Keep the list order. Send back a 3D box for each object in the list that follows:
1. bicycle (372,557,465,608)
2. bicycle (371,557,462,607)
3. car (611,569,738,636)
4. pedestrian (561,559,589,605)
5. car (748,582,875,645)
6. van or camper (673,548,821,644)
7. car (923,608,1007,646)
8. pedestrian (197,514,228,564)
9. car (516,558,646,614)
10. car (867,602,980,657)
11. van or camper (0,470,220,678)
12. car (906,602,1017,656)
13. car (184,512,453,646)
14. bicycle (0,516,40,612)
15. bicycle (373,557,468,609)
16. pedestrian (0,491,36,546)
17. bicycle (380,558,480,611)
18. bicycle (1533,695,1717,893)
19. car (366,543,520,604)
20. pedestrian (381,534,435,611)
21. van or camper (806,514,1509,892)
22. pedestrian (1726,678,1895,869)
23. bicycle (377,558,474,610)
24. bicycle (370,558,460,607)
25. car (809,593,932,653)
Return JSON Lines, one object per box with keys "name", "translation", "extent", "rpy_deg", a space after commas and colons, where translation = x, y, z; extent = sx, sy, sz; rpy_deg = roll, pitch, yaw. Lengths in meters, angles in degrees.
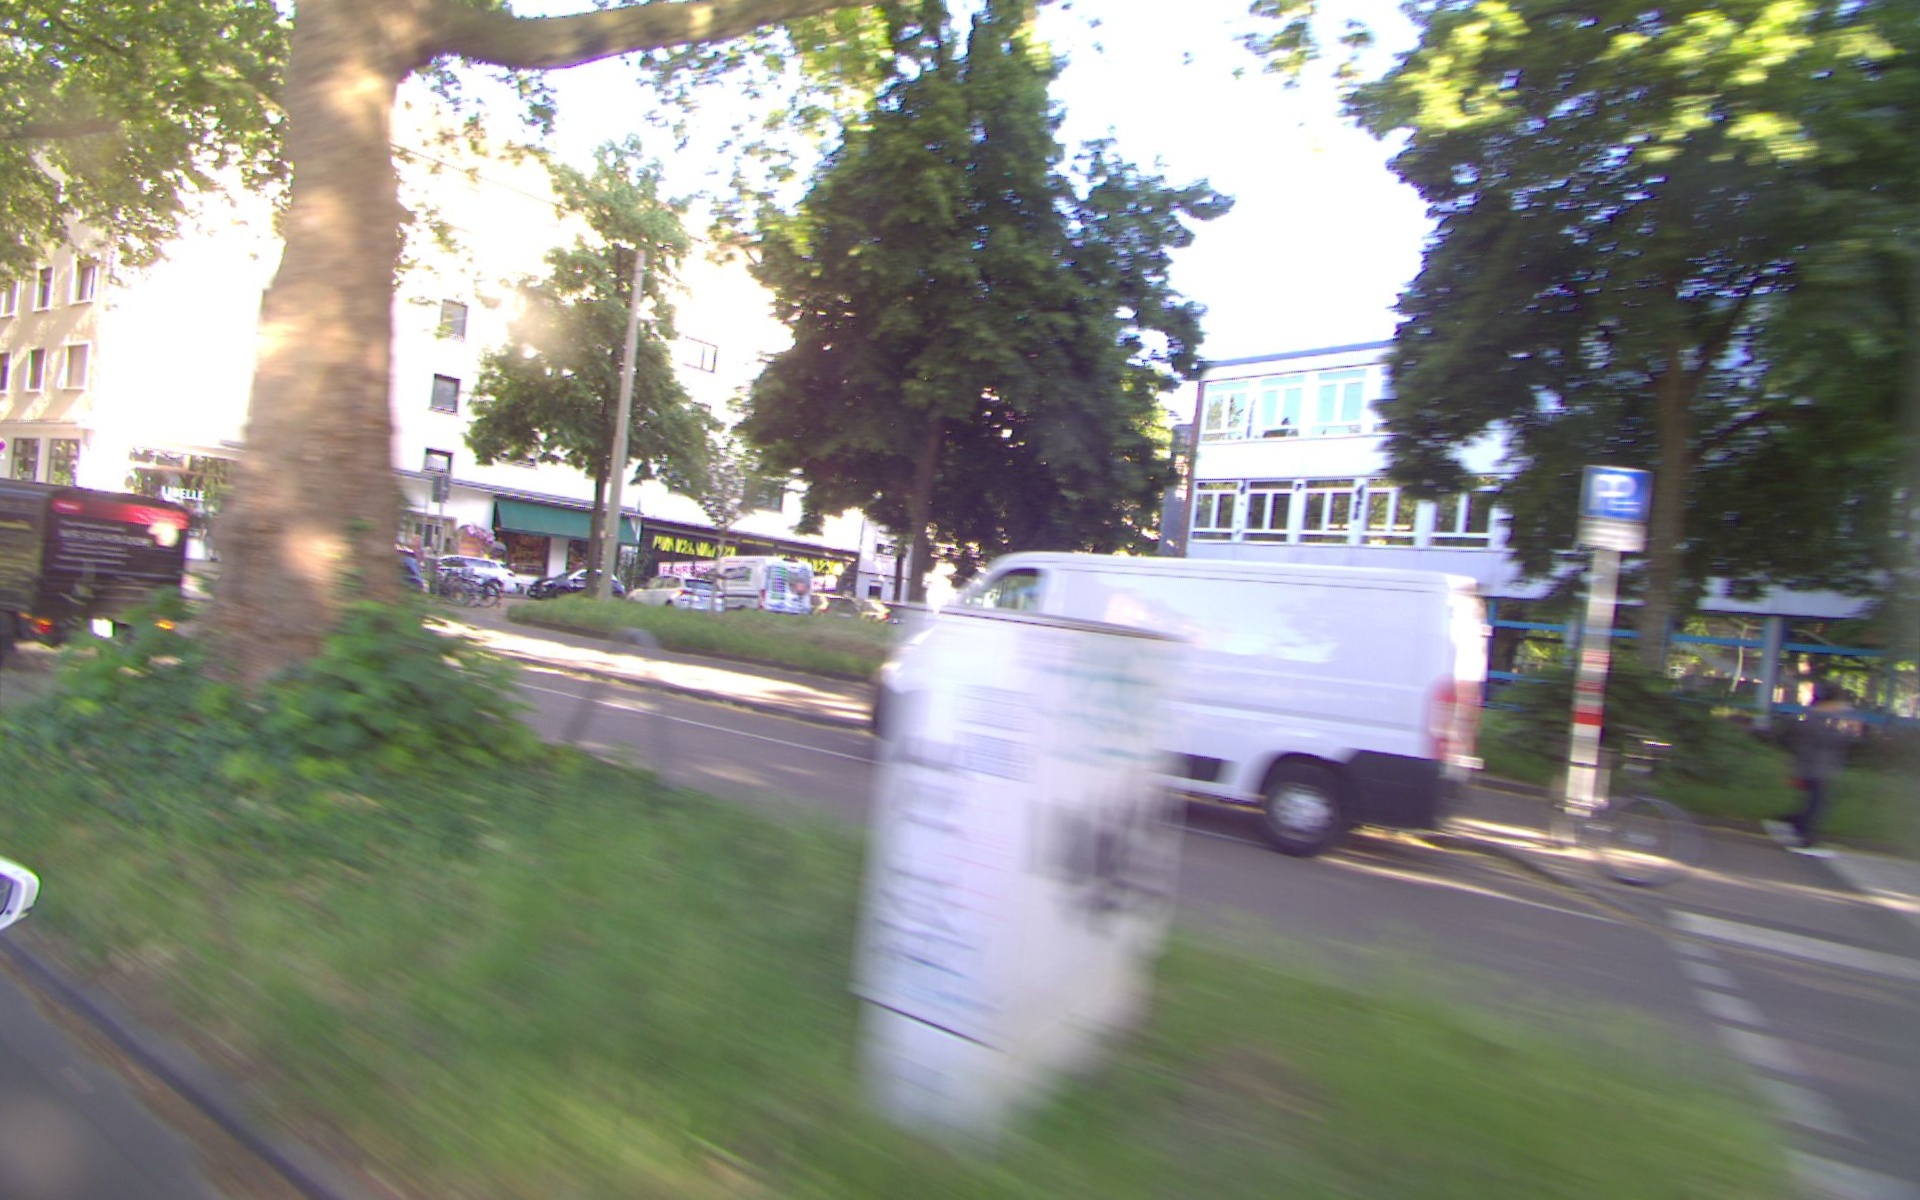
{"name": "bicycle", "translation": [-14.777, -0.462, 27.481], "extent": [2.125, 1.117, 0.504], "rpy_deg": [7, 0, -34]}
{"name": "bicycle", "translation": [-15.082, -0.482, 27.948], "extent": [2.125, 1.117, 0.504], "rpy_deg": [7, 0, -34]}
{"name": "car", "translation": [-9.122, 0.044, 31.952], "extent": [1.987, 1.647, 4.336], "rpy_deg": [7, -1, -43]}
{"name": "pedestrian", "translation": [-16.142, -0.764, 42.196], "extent": [0.719, 1.831, 0.680], "rpy_deg": [6, 0, -44]}
{"name": "car", "translation": [-5.295, 0.441, 35.392], "extent": [1.987, 1.689, 4.687], "rpy_deg": [7, -1, -43]}
{"name": "van or camper", "translation": [-7.252, -0.196, 33.742], "extent": [2.140, 2.668, 5.521], "rpy_deg": [7, -1, -42]}
{"name": "car", "translation": [0.293, 1.528, 55.497], "extent": [4.367, 1.555, 1.976], "rpy_deg": [8, -1, -43]}
{"name": "pedestrian", "translation": [-26.034, -2.127, 35.035], "extent": [0.714, 1.670, 0.590], "rpy_deg": [7, 0, 43]}
{"name": "car", "translation": [-15.220, -0.527, 40.487], "extent": [4.367, 1.664, 1.976], "rpy_deg": [8, -1, -43]}
{"name": "car", "translation": [-1.492, 1.156, 39.702], "extent": [1.987, 1.647, 4.336], "rpy_deg": [7, -1, -43]}
{"name": "van or camper", "translation": [-8.471, -0.304, 8.946], "extent": [2.786, 1.607, 1.507], "rpy_deg": [7, 0, 15]}
{"name": "car", "translation": [0.021, 1.164, 41.155], "extent": [1.987, 1.647, 4.336], "rpy_deg": [7, -1, -43]}
{"name": "car", "translation": [-11.218, -0.397, 17.471], "extent": [5.082, 1.763, 1.822], "rpy_deg": [6, -1, 32]}
{"name": "bicycle", "translation": [-11.975, -0.516, 11.946], "extent": [1.853, 1.091, 0.760], "rpy_deg": [6, 0, 22]}
{"name": "bicycle", "translation": [-14.461, -0.447, 27.014], "extent": [2.125, 1.117, 0.504], "rpy_deg": [7, 0, -34]}
{"name": "pedestrian", "translation": [-31.343, -2.700, 33.328], "extent": [0.712, 1.726, 0.796], "rpy_deg": [7, 1, 32]}
{"name": "bicycle", "translation": [-13.648, -0.392, 25.946], "extent": [2.176, 1.117, 0.504], "rpy_deg": [7, 0, -34]}
{"name": "bicycle", "translation": [5.335, 1.491, 8.201], "extent": [0.946, 1.279, 1.607], "rpy_deg": [6, -1, 27]}
{"name": "car", "translation": [-18.988, -0.940, 37.082], "extent": [4.573, 1.600, 1.976], "rpy_deg": [8, -1, -43]}
{"name": "pedestrian", "translation": [-12.872, -0.651, 23.444], "extent": [0.892, 1.671, 0.679], "rpy_deg": [7, 0, 39]}
{"name": "van or camper", "translation": [1.641, 0.660, 9.268], "extent": [5.726, 2.314, 2.294], "rpy_deg": [6, -1, 31]}
{"name": "pedestrian", "translation": [8.276, 1.645, 9.849], "extent": [1.018, 1.636, 0.733], "rpy_deg": [6, 0, 32]}
{"name": "bicycle", "translation": [-14.040, -0.417, 26.439], "extent": [2.125, 1.117, 0.504], "rpy_deg": [7, 0, -34]}
{"name": "bicycle", "translation": [-15.362, -0.489, 28.387], "extent": [2.125, 1.117, 0.468], "rpy_deg": [7, 0, -34]}
{"name": "car", "translation": [-3.419, 0.827, 37.743], "extent": [1.987, 1.689, 4.687], "rpy_deg": [7, -1, -43]}
